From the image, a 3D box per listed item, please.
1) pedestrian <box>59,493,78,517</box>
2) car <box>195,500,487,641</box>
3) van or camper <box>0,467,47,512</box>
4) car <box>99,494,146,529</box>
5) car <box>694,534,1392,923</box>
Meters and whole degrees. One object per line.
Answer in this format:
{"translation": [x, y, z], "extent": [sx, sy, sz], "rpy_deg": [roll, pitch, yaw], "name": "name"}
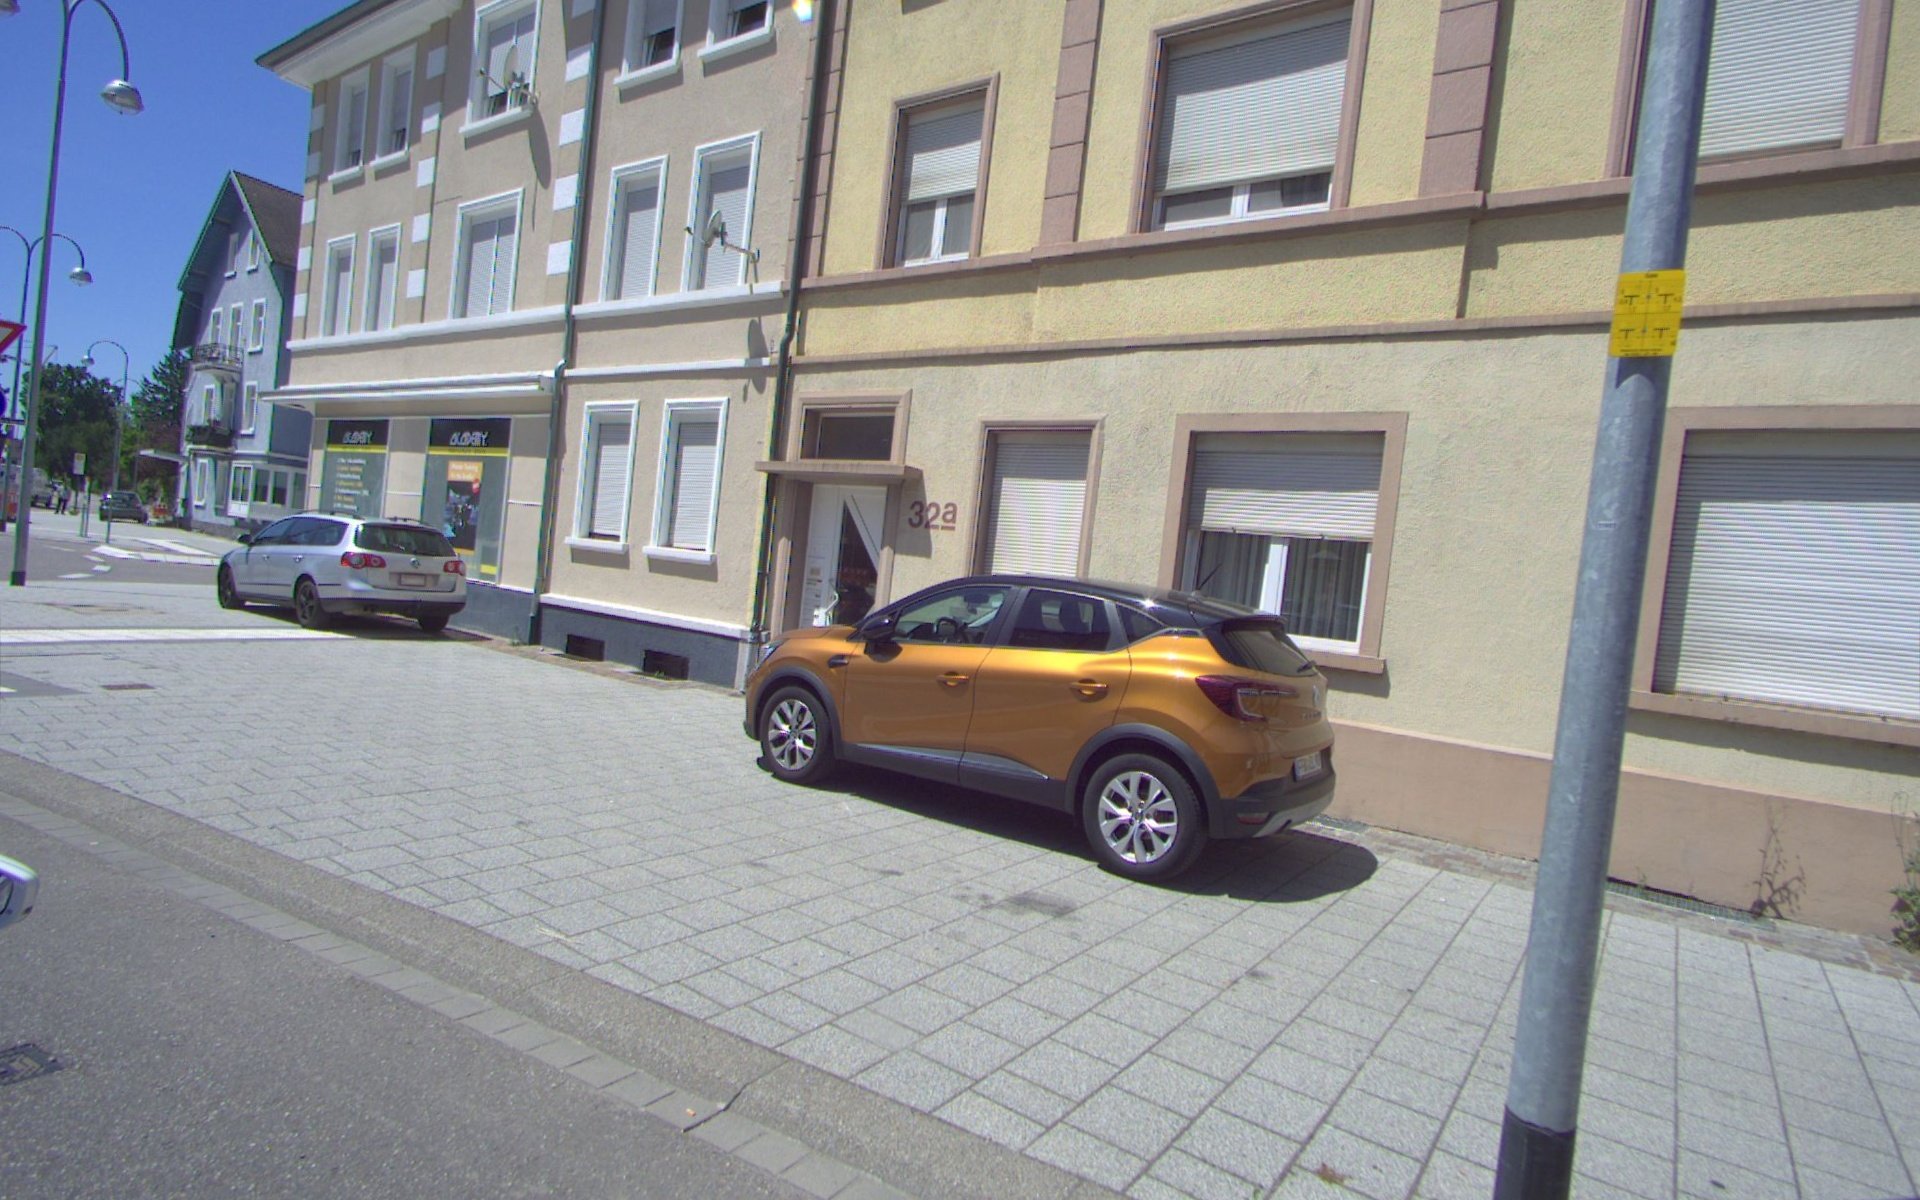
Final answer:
{"translation": [-50.453, -5.378, 56.924], "extent": [0.660, 1.304, 0.582], "rpy_deg": [2, 4, -31], "name": "pedestrian"}
{"translation": [-8.841, -0.455, 14.221], "extent": [4.616, 1.550, 1.763], "rpy_deg": [6, 1, 35], "name": "car"}
{"translation": [-63.432, -7.436, 67.980], "extent": [2.196, 2.643, 3.956], "rpy_deg": [7, 0, -40], "name": "van or camper"}
{"translation": [-41.890, -4.447, 50.357], "extent": [1.629, 1.528, 3.526], "rpy_deg": [2, 3, -38], "name": "car"}
{"translation": [0.350, 0.563, 6.723], "extent": [4.294, 1.642, 1.671], "rpy_deg": [7, 3, 35], "name": "car"}
